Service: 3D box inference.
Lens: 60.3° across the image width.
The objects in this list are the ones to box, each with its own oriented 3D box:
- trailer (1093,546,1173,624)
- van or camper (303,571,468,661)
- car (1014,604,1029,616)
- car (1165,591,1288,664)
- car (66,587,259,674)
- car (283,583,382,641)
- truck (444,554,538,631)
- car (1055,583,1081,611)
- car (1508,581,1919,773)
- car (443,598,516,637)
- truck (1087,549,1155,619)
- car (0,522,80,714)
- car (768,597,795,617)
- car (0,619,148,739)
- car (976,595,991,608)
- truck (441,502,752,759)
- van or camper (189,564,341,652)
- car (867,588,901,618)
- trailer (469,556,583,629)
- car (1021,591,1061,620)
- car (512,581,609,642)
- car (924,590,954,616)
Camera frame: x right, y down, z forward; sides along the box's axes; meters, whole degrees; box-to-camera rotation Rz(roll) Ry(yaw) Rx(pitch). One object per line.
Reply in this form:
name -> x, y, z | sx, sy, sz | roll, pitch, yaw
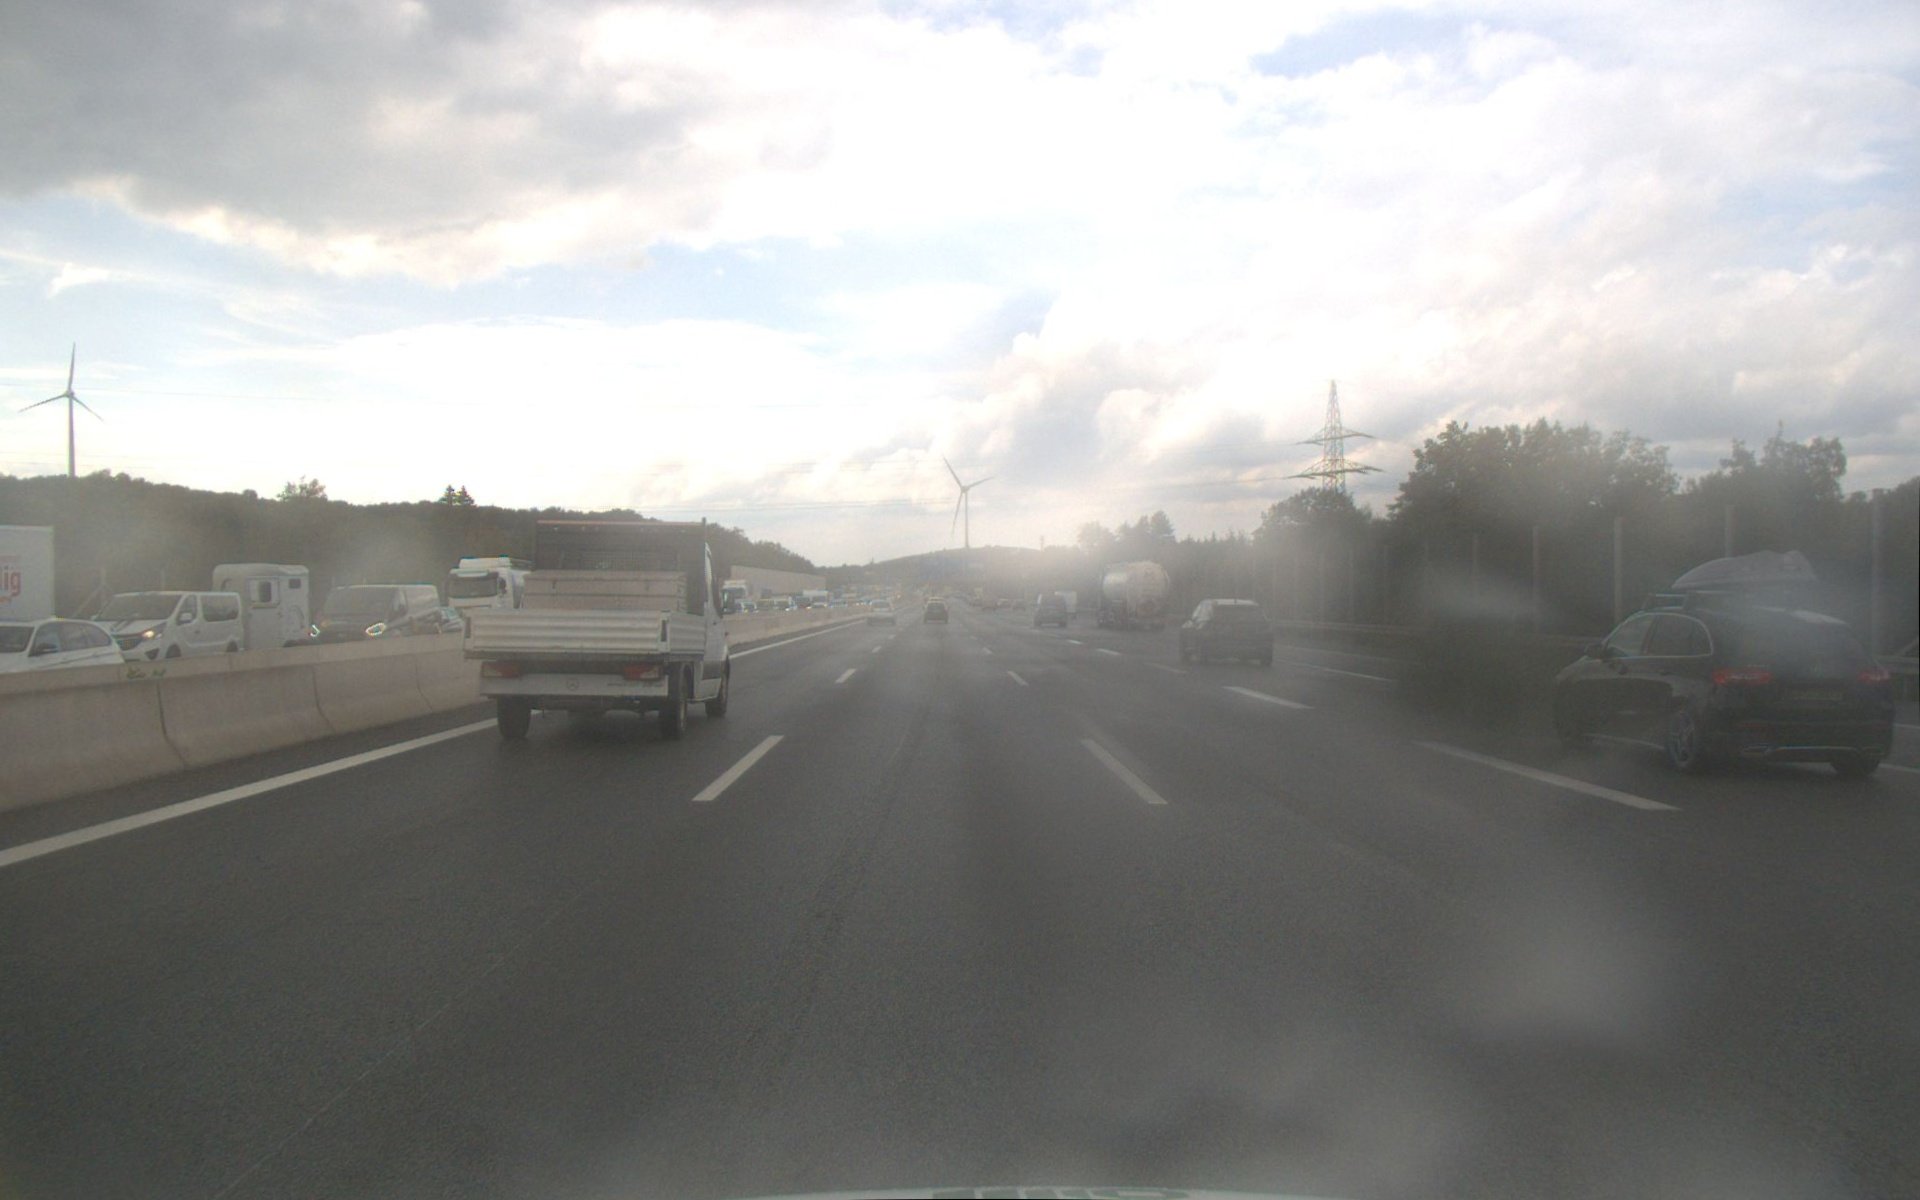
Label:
trailer -> 10.045, -0.862, 97.181 | 3.265, 4.248, 11.836 | 1, 0, -1
van or camper -> -14.067, 0.363, 40.967 | 1.953, 2.049, 6.345 | 0, 0, -1
car -> 9.123, 1.499, 244.215 | 1.953, 1.780, 4.496 | 1, 0, -1
car -> 6.747, 0.693, 42.465 | 2.005, 1.729, 5.002 | -1, -1, -4
car -> -18.489, 0.637, 38.685 | 1.820, 1.856, 5.663 | 1, 0, -1
car -> -22.409, 0.419, 59.239 | 2.052, 2.003, 3.999 | 0, 0, -1
truck -> -22.749, -0.369, 80.560 | 2.673, 3.575, 6.799 | 0, 1, -1
car -> 9.891, -0.318, 151.322 | 2.004, 2.541, 3.999 | 0, 1, -1
car -> 7.458, 0.638, 16.795 | 2.062, 1.633, 5.065 | 0, 1, -1
car -> -19.511, 0.676, 67.322 | 1.763, 1.529, 4.351 | 0, 0, -1
truck -> 9.960, -0.975, 103.067 | 3.265, 4.151, 8.270 | 1, 0, -1
car -> -18.037, 0.317, 27.849 | 2.447, 3.357, 7.625 | 0, 1, -1
car -> -15.216, 0.554, 141.301 | 1.856, 1.652, 4.844 | 1, 0, -1
car -> -13.804, 1.101, 24.059 | 1.609, 1.519, 4.933 | 0, 1, -1
car -> 3.306, 0.189, 234.015 | 2.003, 1.729, 4.000 | 0, 1, 0
truck -> -3.967, 0.252, 19.634 | 2.306, 2.450, 7.355 | 1, 1, -2
van or camper -> -18.635, 0.168, 44.614 | 2.052, 2.224, 4.970 | 0, 1, -1
car -> -4.654, 0.170, 101.563 | 2.004, 1.729, 3.999 | 0, 1, -1
trailer -> -22.864, -0.443, 88.063 | 2.656, 3.588, 13.608 | 0, 1, -1
car -> 5.063, 0.345, 103.838 | 2.056, 1.729, 3.997 | 0, 1, -4
car -> -13.826, 0.343, 57.565 | 2.052, 2.003, 5.630 | 0, 1, -1
car -> -1.453, 0.207, 115.593 | 2.003, 1.729, 4.000 | 0, 1, -1
